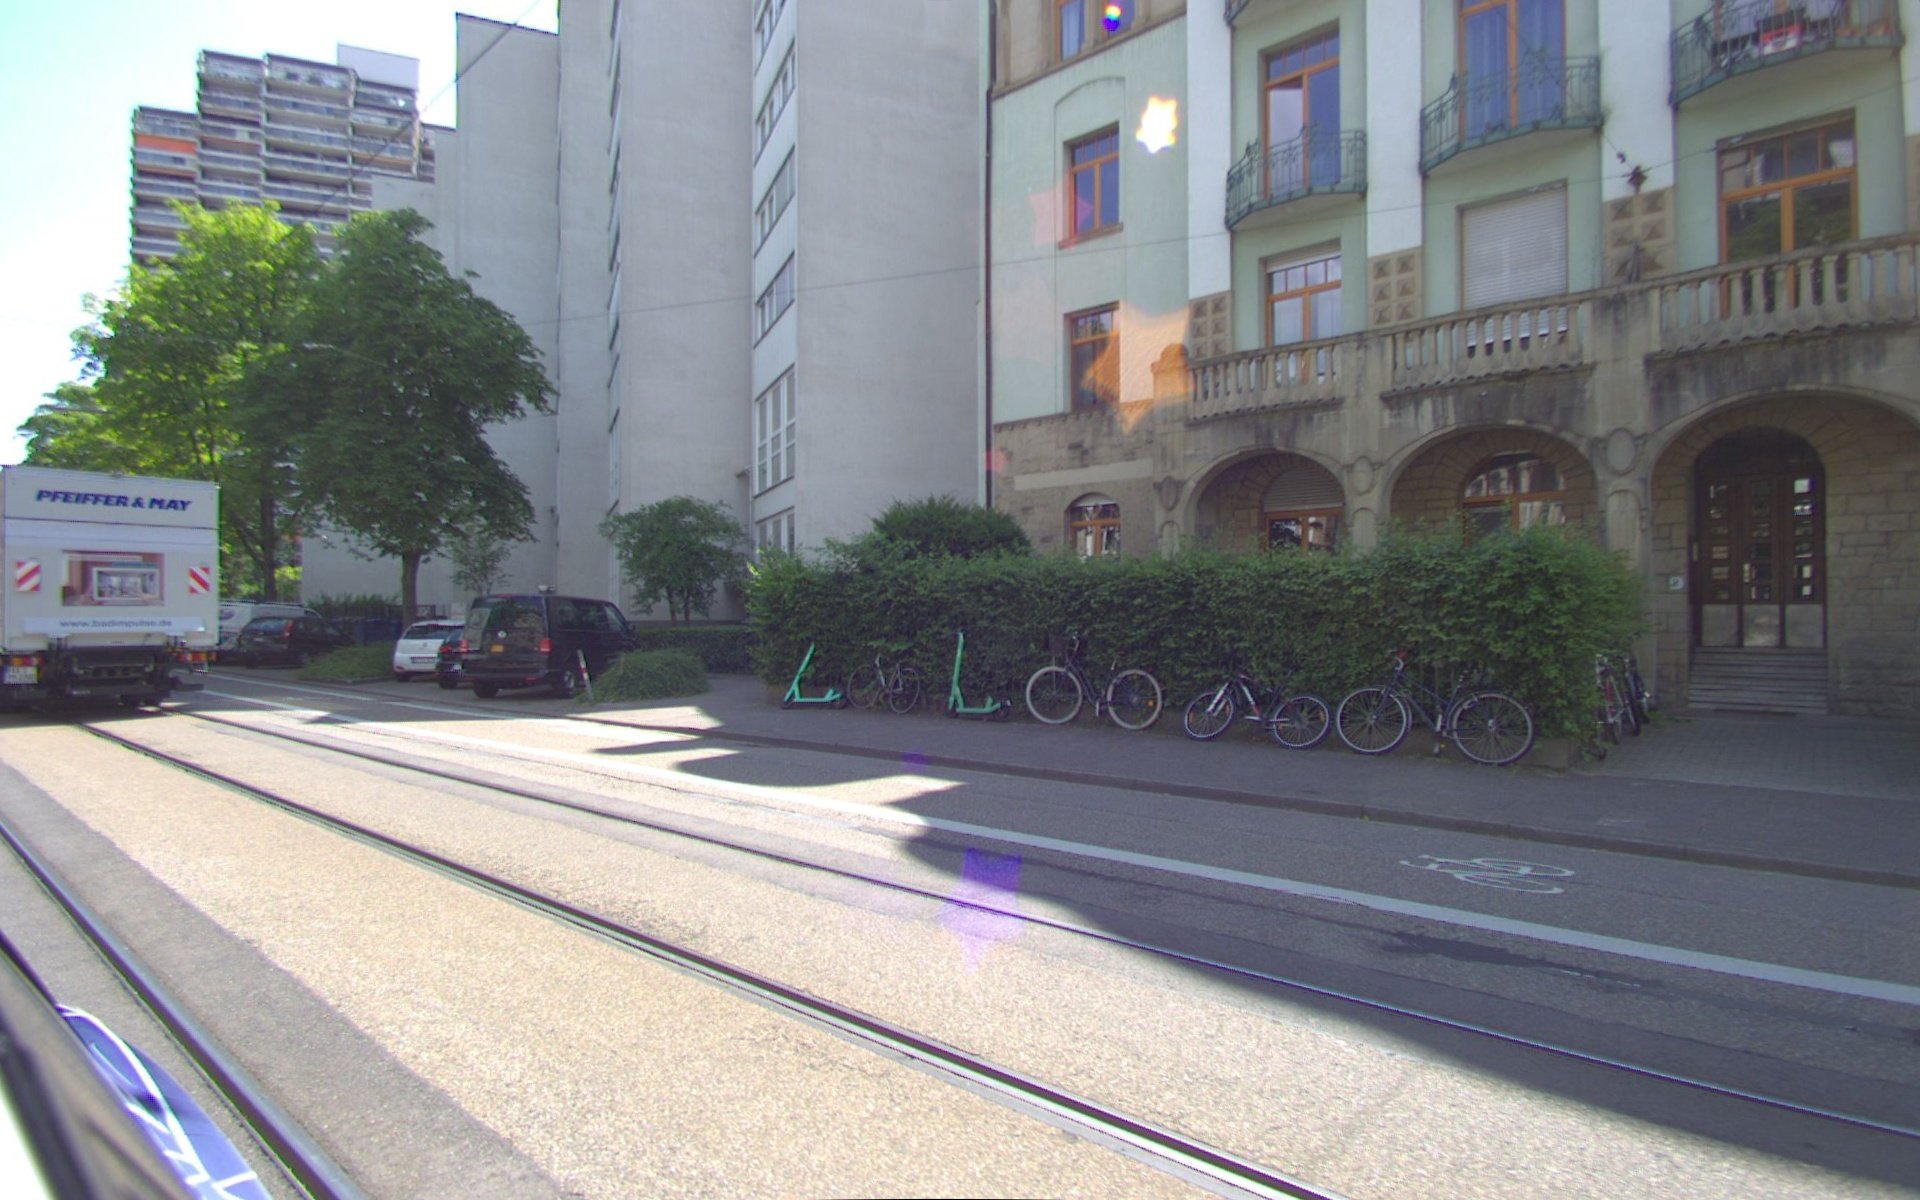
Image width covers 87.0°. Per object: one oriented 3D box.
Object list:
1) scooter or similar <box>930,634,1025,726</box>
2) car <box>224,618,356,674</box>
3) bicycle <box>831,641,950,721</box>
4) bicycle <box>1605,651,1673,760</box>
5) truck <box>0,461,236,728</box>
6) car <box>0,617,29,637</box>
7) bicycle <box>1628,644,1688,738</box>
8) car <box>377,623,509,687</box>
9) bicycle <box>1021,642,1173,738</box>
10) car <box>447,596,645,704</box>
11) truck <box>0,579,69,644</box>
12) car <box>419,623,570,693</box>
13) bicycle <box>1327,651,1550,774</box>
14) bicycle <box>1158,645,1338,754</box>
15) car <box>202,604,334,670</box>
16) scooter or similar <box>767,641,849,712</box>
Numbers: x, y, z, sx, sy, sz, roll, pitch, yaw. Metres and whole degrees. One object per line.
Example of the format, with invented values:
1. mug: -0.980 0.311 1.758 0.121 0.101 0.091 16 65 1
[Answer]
1. scooter or similar: 0.210 1.017 13.174 1.291 1.128 0.401 -1 -1 43
2. car: -20.461 1.364 31.088 1.658 1.587 3.685 1 -1 -2
3. bicycle: -0.996 1.112 14.234 1.707 0.996 0.601 -1 2 41
4. bicycle: 6.365 0.956 9.472 0.340 0.915 1.192 -1 -2 43
5. truck: -15.468 -0.003 17.479 8.247 3.647 2.757 -1 -2 39
6. car: -86.474 2.424 90.651 1.977 1.821 4.319 0 -1 8
7. bicycle: 7.371 0.933 10.671 0.340 0.915 1.192 -1 -2 43
8. car: -12.812 1.316 25.313 1.700 1.465 3.631 0 -1 -5
9. bicycle: 1.604 1.031 12.001 1.707 0.996 0.601 -1 2 41
10. car: -8.200 0.955 20.586 1.937 1.940 4.581 0 -1 4
11. truck: -64.318 0.857 70.164 2.633 4.212 10.498 1 -1 -35
12. car: -10.500 1.255 23.138 1.659 1.465 3.944 0 -1 0
13. bicycle: 4.456 1.008 9.499 1.770 0.983 0.601 -1 2 41
14. bicycle: 3.014 1.010 10.697 1.707 0.996 0.601 -1 2 41
15. car: -22.753 1.191 33.458 1.580 2.058 4.052 0 -1 0
16. scooter or similar: -2.311 1.144 15.352 1.217 1.028 0.403 -1 -1 26
